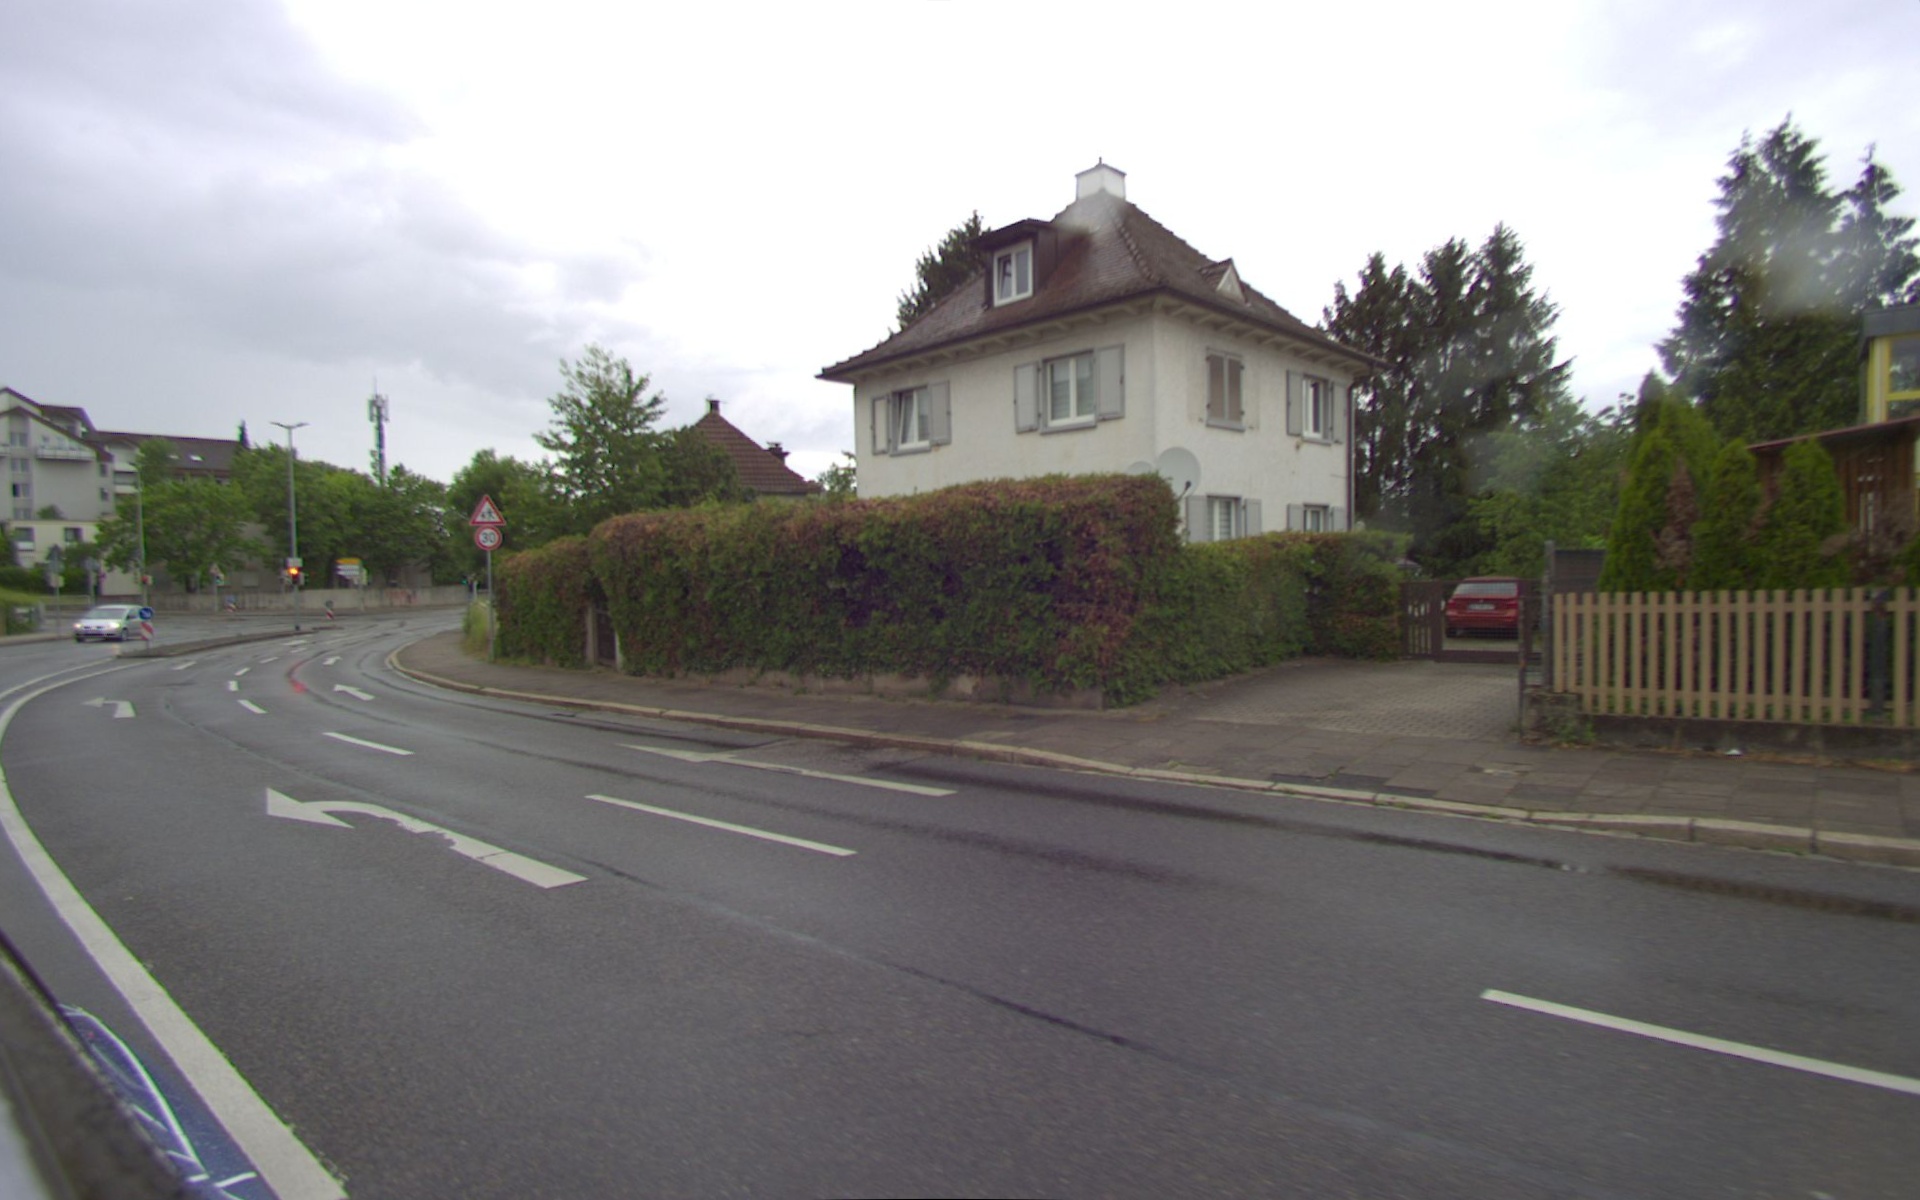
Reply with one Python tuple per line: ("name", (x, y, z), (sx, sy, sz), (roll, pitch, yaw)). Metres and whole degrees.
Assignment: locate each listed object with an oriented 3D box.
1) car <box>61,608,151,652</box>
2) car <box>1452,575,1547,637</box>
("car", (-37.189, 1.256, 44.196), (1.965, 1.669, 4.014), (-1, 2, -25))
("car", (13.039, 0.158, 24.398), (1.497, 1.388, 3.034), (-1, -1, 38))
